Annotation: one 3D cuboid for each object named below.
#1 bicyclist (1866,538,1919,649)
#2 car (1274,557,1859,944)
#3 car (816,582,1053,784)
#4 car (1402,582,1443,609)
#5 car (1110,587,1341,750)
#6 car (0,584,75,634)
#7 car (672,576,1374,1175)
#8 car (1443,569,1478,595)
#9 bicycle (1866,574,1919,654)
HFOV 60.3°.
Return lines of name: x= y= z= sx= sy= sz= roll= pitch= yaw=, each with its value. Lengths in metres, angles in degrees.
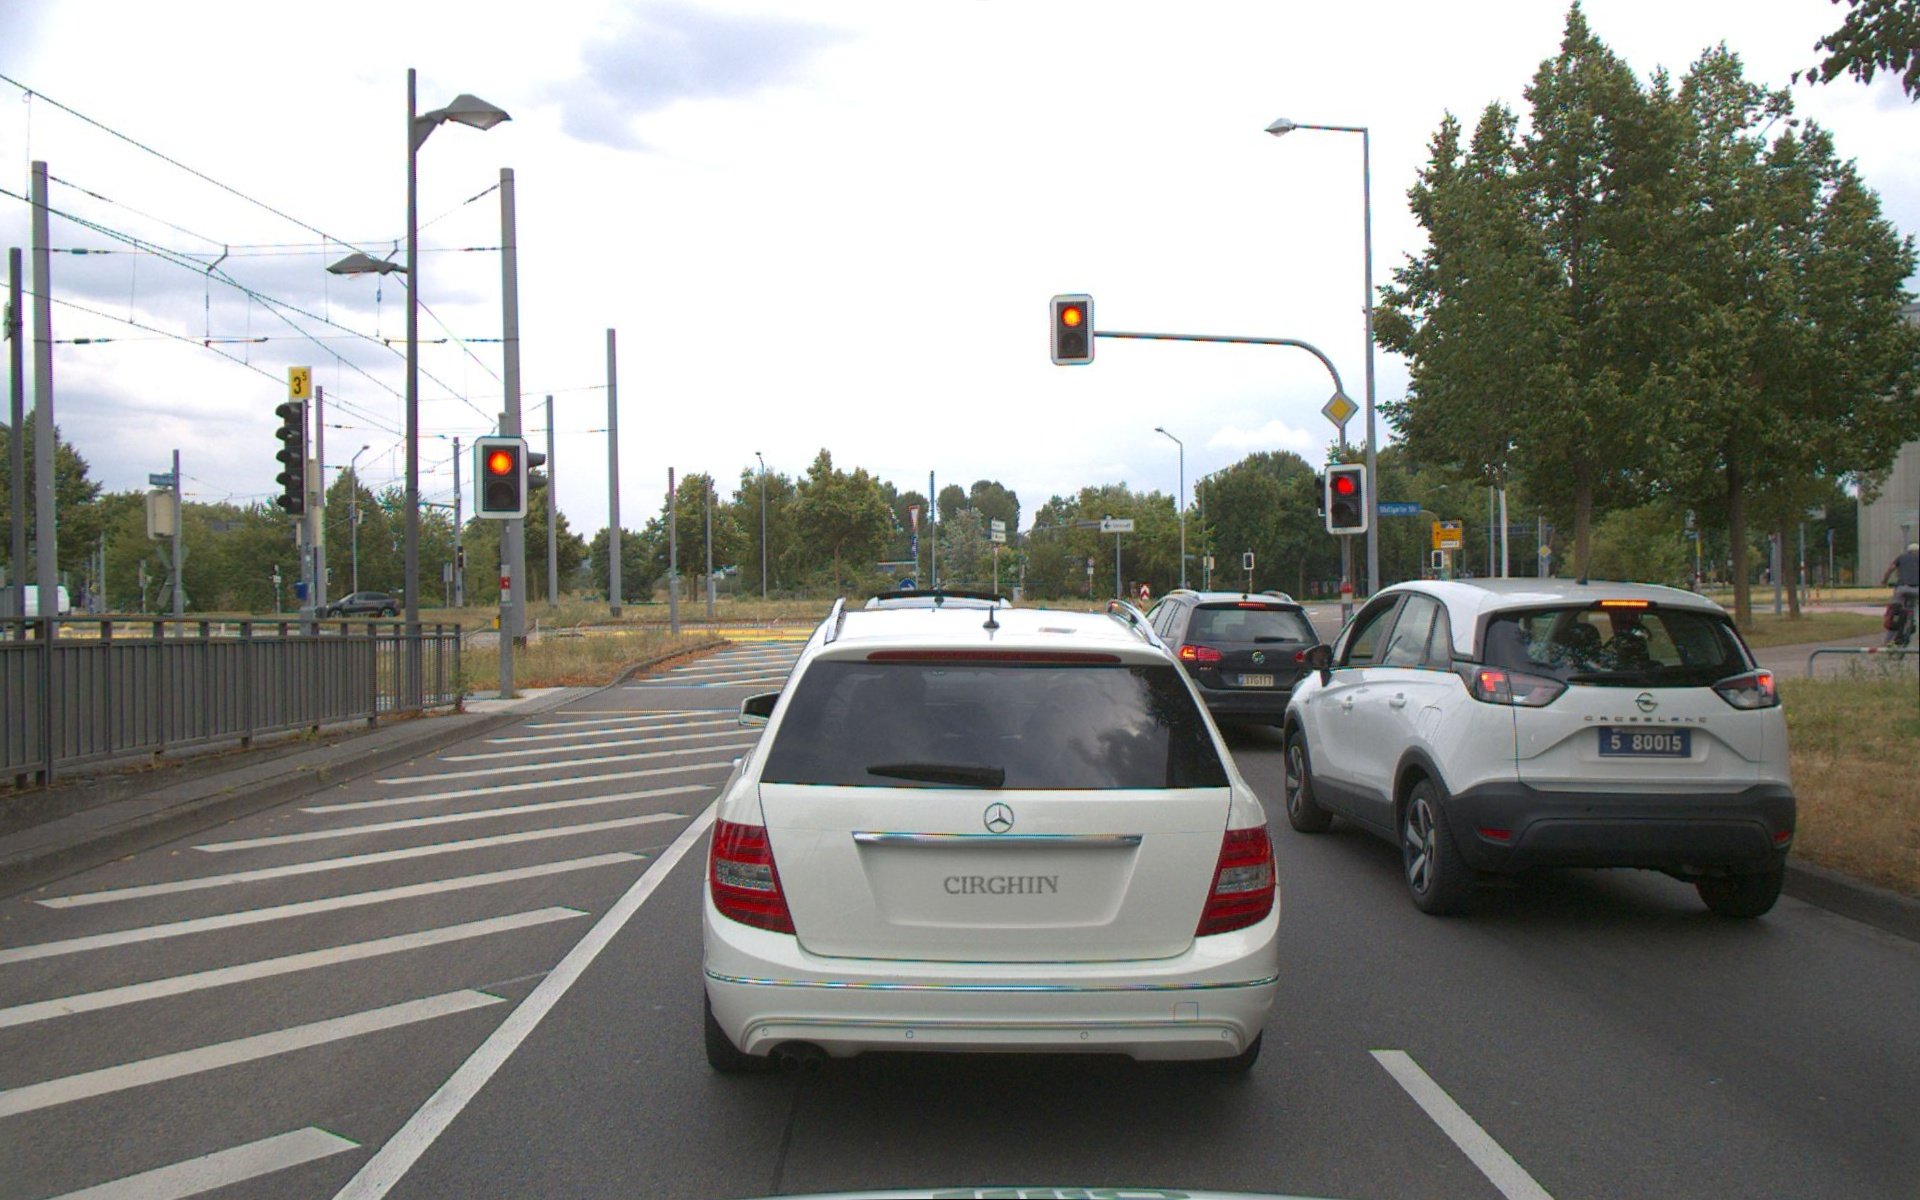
bicyclist: x=15.420 y=-0.113 z=26.980 sx=0.976 sy=1.767 sz=1.129 roll=-1 pitch=0 yaw=22
car: x=3.010 y=0.634 z=9.147 sx=1.751 sy=1.653 sz=3.910 roll=-1 pitch=0 yaw=-1
car: x=-0.275 y=0.595 z=14.138 sx=1.738 sy=1.474 sz=3.908 roll=1 pitch=0 yaw=-3
car: x=32.648 y=-0.290 z=116.724 sx=1.955 sy=1.822 sz=3.995 roll=1 pitch=0 yaw=27
car: x=2.626 y=0.617 z=17.175 sx=1.592 sy=1.474 sz=3.908 roll=1 pitch=0 yaw=-3
car: x=-40.367 y=0.359 z=70.429 sx=1.951 sy=2.049 sz=5.004 roll=-1 pitch=1 yaw=11
car: x=0.077 y=0.670 z=6.071 sx=1.738 sy=1.474 sz=3.908 roll=1 pitch=0 yaw=-3
car: x=32.394 y=-1.185 z=107.066 sx=1.747 sy=1.664 sz=4.401 roll=-1 pitch=1 yaw=22
bicycle: x=15.412 y=0.208 z=26.955 sx=0.883 sy=1.256 sz=2.268 roll=-1 pitch=1 yaw=22
